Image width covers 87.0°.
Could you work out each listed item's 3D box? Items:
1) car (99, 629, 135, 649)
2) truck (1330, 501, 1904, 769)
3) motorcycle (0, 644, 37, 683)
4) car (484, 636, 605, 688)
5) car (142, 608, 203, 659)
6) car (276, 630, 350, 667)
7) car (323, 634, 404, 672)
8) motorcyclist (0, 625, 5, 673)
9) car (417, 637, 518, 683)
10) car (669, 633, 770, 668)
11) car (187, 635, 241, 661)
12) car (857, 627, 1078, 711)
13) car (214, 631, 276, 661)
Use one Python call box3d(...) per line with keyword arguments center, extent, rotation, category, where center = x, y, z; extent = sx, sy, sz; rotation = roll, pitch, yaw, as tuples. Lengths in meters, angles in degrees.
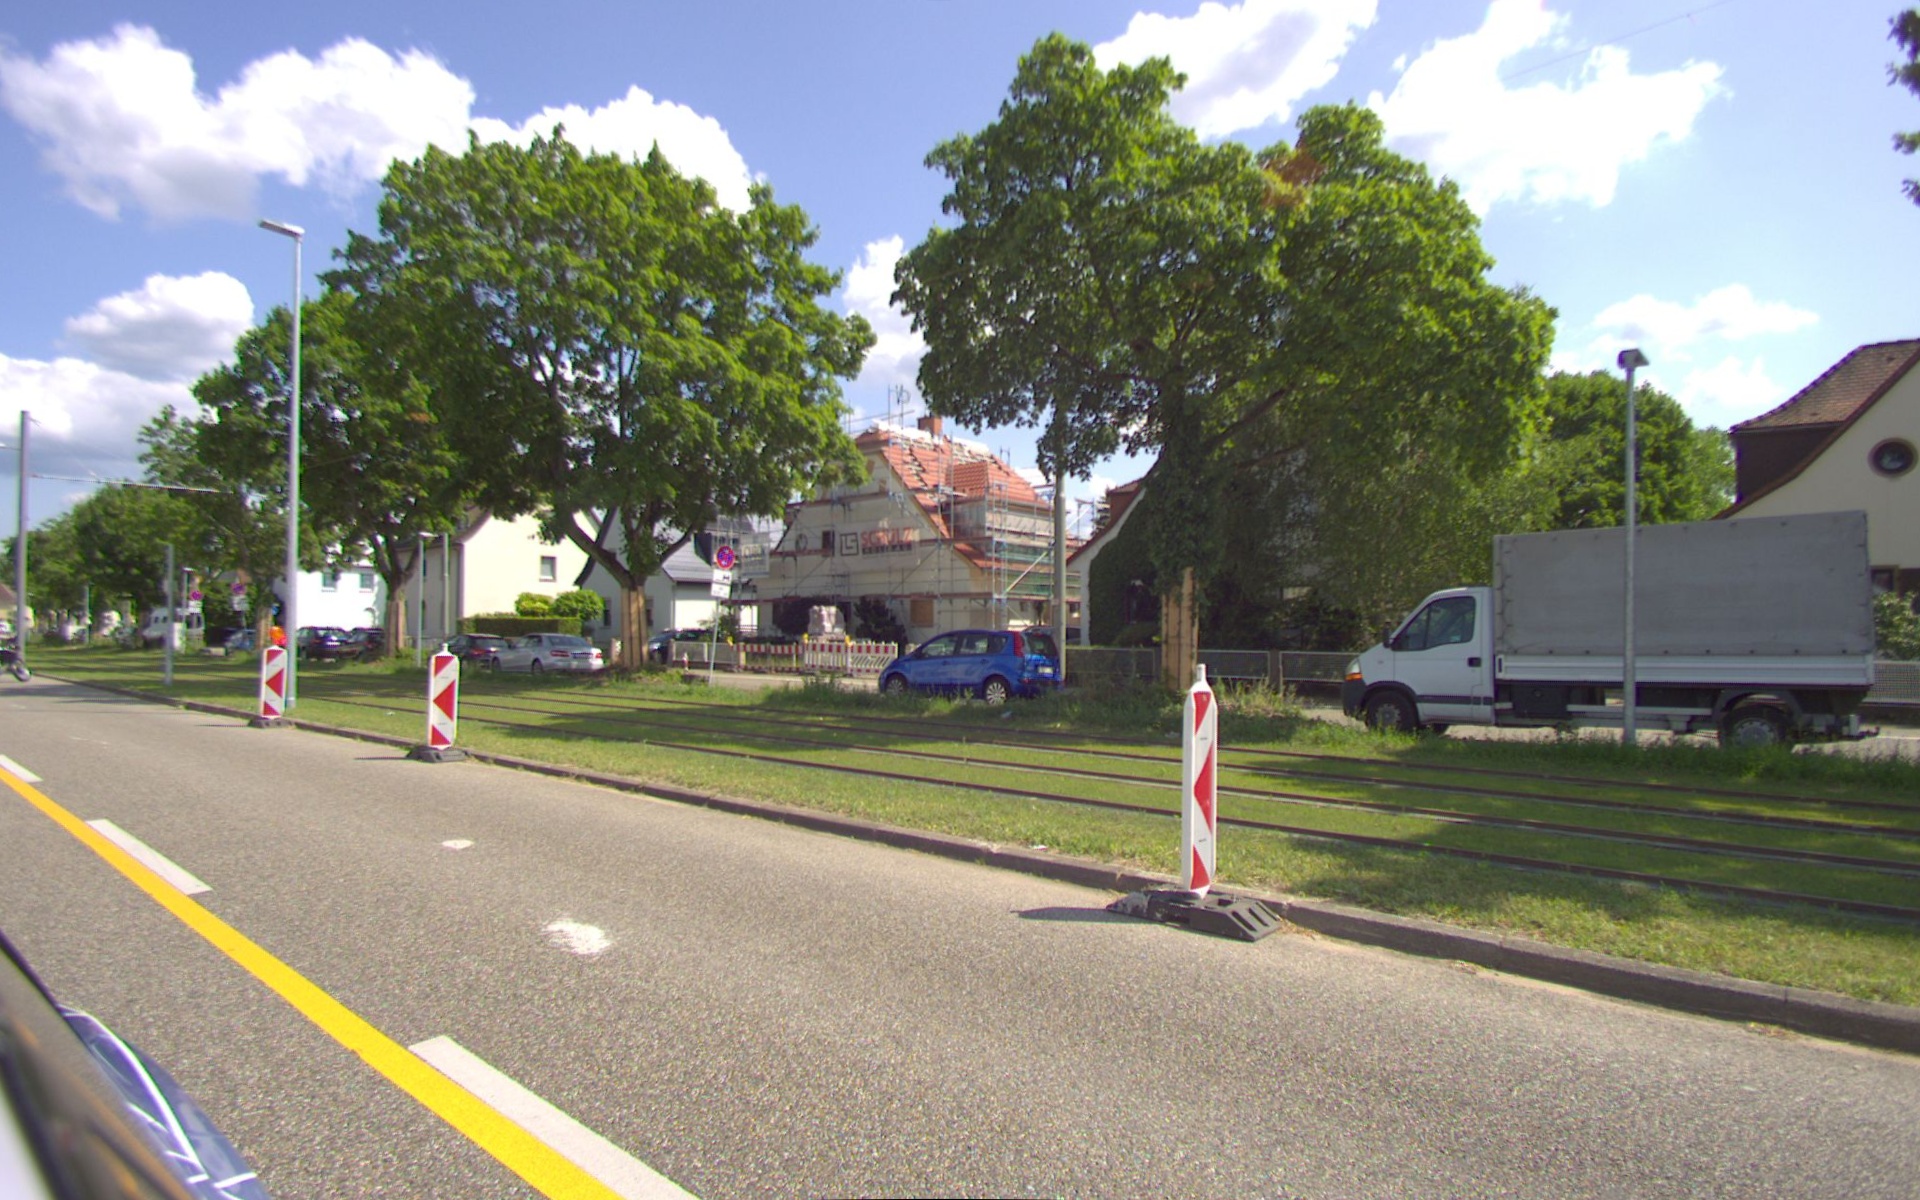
box3d(center=(-69.107, 3.200, 82.924), extent=(4.404, 1.497, 1.679), rotation=(-4, -3, 42), category="car")
box3d(center=(8.298, 0.455, 13.406), extent=(5.971, 2.802, 2.242), rotation=(-2, -3, 41), category="truck")
box3d(center=(-26.247, 1.705, 27.161), extent=(0.655, 1.054, 2.093), rotation=(-1, -2, 25), category="motorcycle")
box3d(center=(-13.121, 1.931, 31.861), extent=(4.520, 1.497, 1.765), rotation=(-4, -3, 42), category="car")
box3d(center=(-49.517, 2.157, 63.610), extent=(5.080, 3.061, 2.108), rotation=(-3, -3, 41), category="car")
box3d(center=(-29.495, 2.221, 46.077), extent=(4.403, 1.584, 1.680), rotation=(-3, -3, 41), category="car")
box3d(center=(-25.181, 2.250, 42.654), extent=(4.403, 1.497, 1.680), rotation=(-3, -3, 41), category="car")
box3d(center=(-26.264, 1.313, 27.130), extent=(0.655, 1.301, 0.773), rotation=(-1, -2, 26), category="motorcyclist")
box3d(center=(-17.522, 2.117, 35.897), extent=(4.403, 1.497, 1.680), rotation=(-3, -3, 41), category="car")
box3d(center=(-10.927, 2.290, 46.214), extent=(1.702, 1.497, 4.345), rotation=(-3, -3, 41), category="car")
box3d(center=(-44.478, 2.871, 60.333), extent=(4.403, 1.497, 1.680), rotation=(-3, -3, 41), category="car")
box3d(center=(0.058, 1.351, 20.276), extent=(4.403, 1.497, 1.680), rotation=(-3, -3, 41), category="car")
box3d(center=(-37.495, 2.424, 53.053), extent=(4.403, 1.497, 1.680), rotation=(-3, -3, 41), category="car")
